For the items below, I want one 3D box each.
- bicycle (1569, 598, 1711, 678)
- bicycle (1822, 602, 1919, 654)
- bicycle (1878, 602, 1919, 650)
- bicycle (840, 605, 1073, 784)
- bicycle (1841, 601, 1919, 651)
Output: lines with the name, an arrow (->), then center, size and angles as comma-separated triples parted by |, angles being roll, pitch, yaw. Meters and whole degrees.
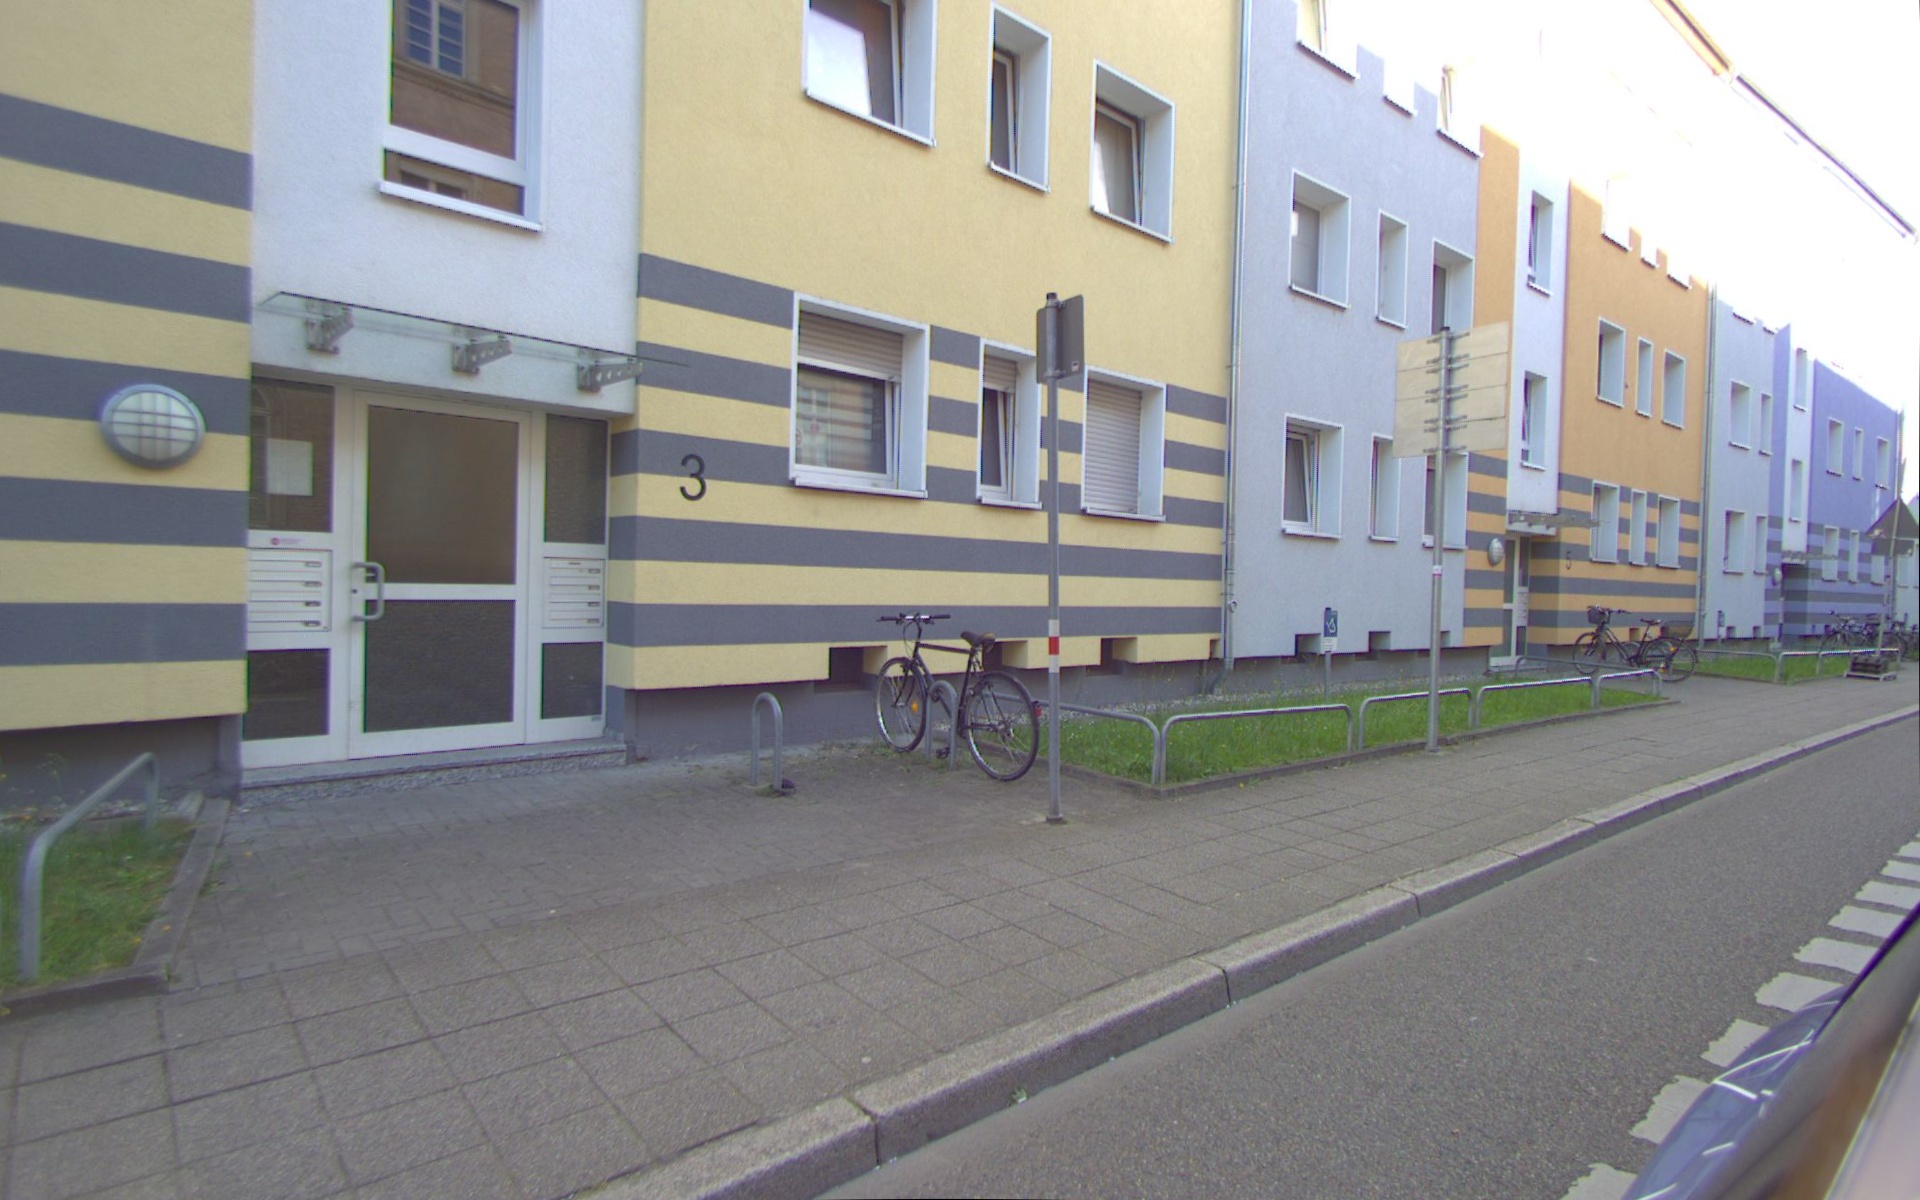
bicycle -> 10.685, 0.563, 15.949 | 1.775, 1.137, 0.476 | 3, 1, 44
bicycle -> 22.224, 0.662, 24.733 | 0.475, 1.166, 1.678 | 1, 1, -37
bicycle -> 24.132, 0.657, 25.282 | 0.475, 1.166, 1.678 | 1, 1, -37
bicycle -> -0.076, 0.587, 7.020 | 1.775, 1.031, 0.476 | 3, 1, 44
bicycle -> 23.305, 0.645, 25.425 | 0.475, 1.166, 1.678 | 1, 1, -37
